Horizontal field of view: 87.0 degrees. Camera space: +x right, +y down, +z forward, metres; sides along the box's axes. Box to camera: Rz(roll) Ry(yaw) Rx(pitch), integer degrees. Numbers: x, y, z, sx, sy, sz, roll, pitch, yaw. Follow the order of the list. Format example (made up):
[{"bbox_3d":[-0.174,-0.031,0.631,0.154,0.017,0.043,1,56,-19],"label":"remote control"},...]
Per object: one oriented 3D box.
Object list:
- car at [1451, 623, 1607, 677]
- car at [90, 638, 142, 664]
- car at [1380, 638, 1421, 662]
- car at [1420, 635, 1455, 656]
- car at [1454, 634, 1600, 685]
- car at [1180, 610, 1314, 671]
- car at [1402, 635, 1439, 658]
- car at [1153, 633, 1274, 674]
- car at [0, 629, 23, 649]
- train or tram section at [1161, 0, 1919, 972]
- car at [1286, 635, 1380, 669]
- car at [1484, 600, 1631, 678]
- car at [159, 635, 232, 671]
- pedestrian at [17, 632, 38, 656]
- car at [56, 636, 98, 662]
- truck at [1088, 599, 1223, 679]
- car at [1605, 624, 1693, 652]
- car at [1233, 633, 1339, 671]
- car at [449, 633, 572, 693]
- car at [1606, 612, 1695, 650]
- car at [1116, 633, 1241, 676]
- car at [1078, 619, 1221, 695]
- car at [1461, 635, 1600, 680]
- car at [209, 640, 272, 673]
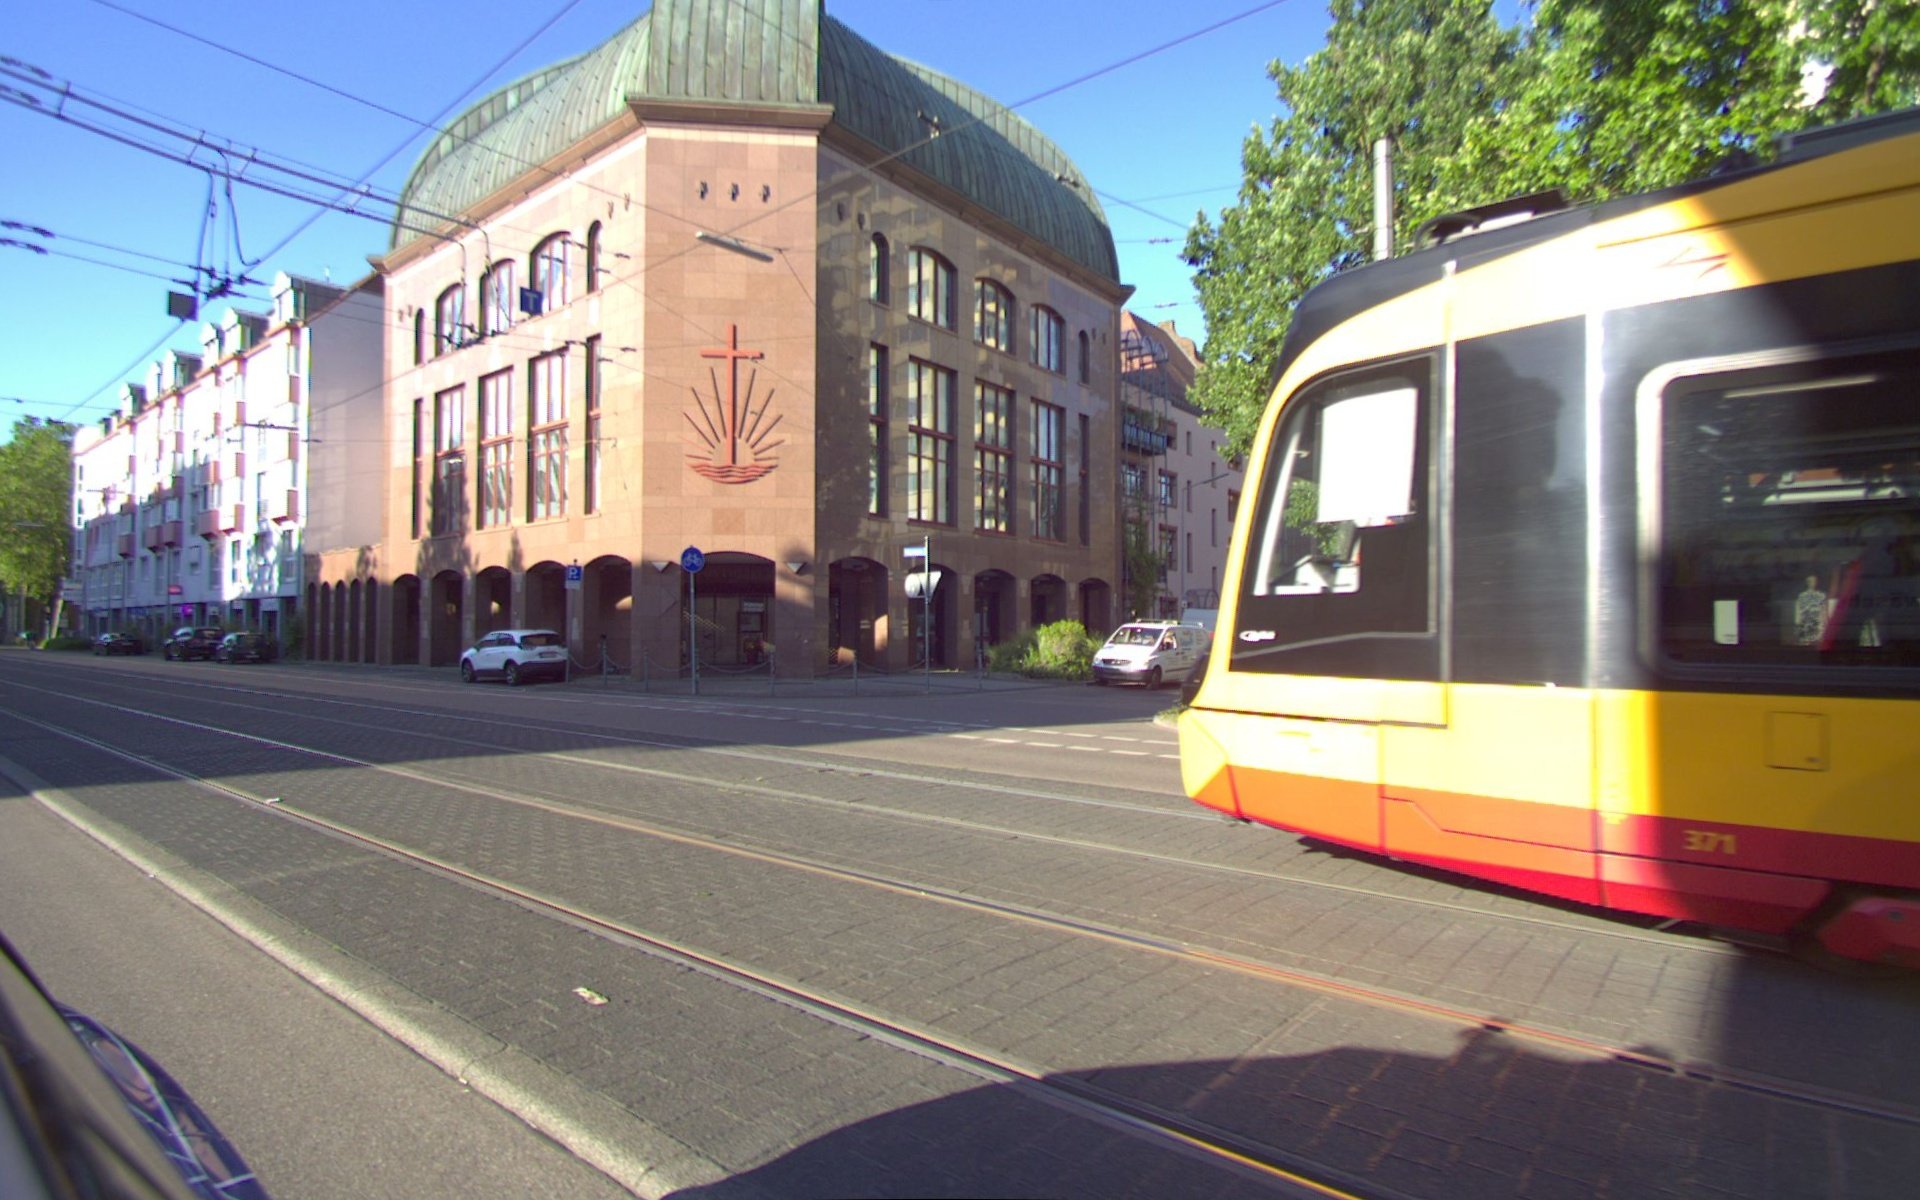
[{"bbox_3d":[23.062,1.982,41.146,5.266,2.061,2.025,-1,-2,39],"label":"car"},{"bbox_3d":[-53.849,3.202,64.541,4.558,1.520,1.806,-1,-1,40],"label":"car"},{"bbox_3d":[29.630,3.330,68.037,1.851,1.555,3.981,-1,-2,33],"label":"car"},{"bbox_3d":[36.526,3.468,77.333,1.851,1.555,3.981,-1,-2,33],"label":"car"},{"bbox_3d":[19.499,2.000,34.872,4.096,1.590,2.011,-1,-2,39],"label":"car"},{"bbox_3d":[12.583,1.760,44.599,5.406,2.562,1.833,-2,-2,38],"label":"car"},{"bbox_3d":[33.244,3.310,73.046,1.851,1.555,3.981,-1,-2,33],"label":"car"},{"bbox_3d":[10.535,2.199,42.175,4.522,1.585,1.833,-1,-2,36],"label":"car"},{"bbox_3d":[-83.223,3.425,88.646,2.880,1.686,1.365,-2,-2,41],"label":"car"},{"bbox_3d":[6.702,-0.511,2.484,12.458,3.578,2.730,-1,-2,40],"label":"train or tram section"},{"bbox_3d":[19.425,2.670,52.781,4.285,1.685,1.835,-1,-2,34],"label":"car"},{"bbox_3d":[27.670,1.742,46.993,5.627,3.437,2.114,0,-2,39],"label":"car"},{"bbox_3d":[-39.324,2.678,52.010,4.555,1.713,1.940,-1,-1,39],"label":"car"},{"bbox_3d":[-71.042,3.362,77.100,1.253,1.792,1.081,-2,-3,45],"label":"pedestrian"},{"bbox_3d":[-65.450,3.589,74.969,4.384,1.811,1.905,-2,-2,43],"label":"car"},{"bbox_3d":[7.092,1.397,36.922,4.522,2.784,1.833,-1,-2,36],"label":"truck"},{"bbox_3d":[66.680,3.620,98.030,6.956,2.638,2.543,-1,-2,36],"label":"car"},{"bbox_3d":[15.033,2.367,46.698,4.291,1.685,1.832,-2,-2,38],"label":"car"},{"bbox_3d":[-13.649,1.857,30.610,4.272,1.602,1.580,-1,0,38],"label":"car"},{"bbox_3d":[50.102,2.226,73.485,5.289,2.638,2.116,0,-1,38],"label":"car"},{"bbox_3d":[8.676,2.139,40.284,4.522,1.585,1.833,-1,-2,36],"label":"car"},{"bbox_3d":[5.740,1.604,30.139,2.130,1.982,4.931,2,0,38],"label":"car"},{"bbox_3d":[22.033,2.179,39.162,4.458,1.590,2.025,-1,-2,39],"label":"car"},{"bbox_3d":[-34.113,2.632,47.936,3.681,1.411,1.625,-1,-1,41],"label":"car"}]
